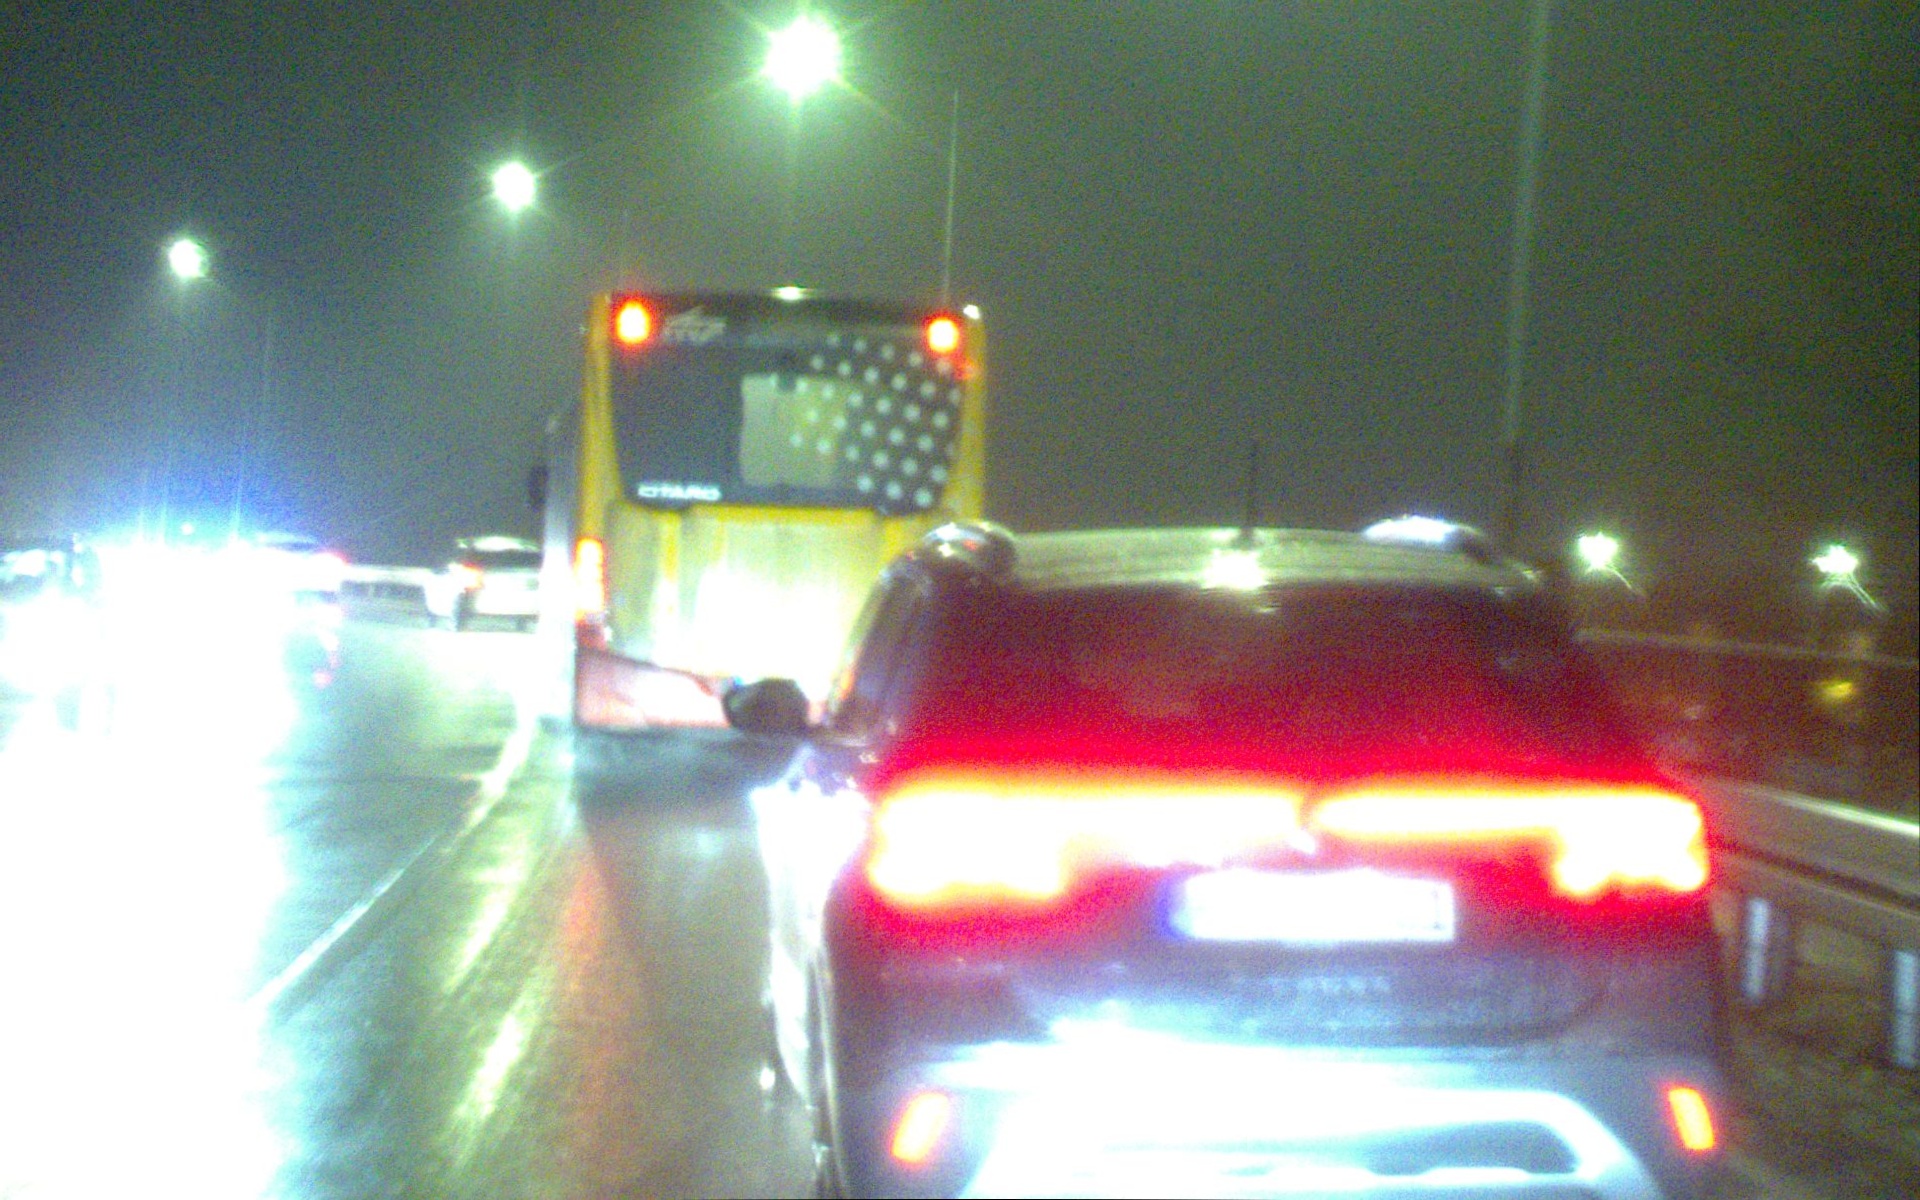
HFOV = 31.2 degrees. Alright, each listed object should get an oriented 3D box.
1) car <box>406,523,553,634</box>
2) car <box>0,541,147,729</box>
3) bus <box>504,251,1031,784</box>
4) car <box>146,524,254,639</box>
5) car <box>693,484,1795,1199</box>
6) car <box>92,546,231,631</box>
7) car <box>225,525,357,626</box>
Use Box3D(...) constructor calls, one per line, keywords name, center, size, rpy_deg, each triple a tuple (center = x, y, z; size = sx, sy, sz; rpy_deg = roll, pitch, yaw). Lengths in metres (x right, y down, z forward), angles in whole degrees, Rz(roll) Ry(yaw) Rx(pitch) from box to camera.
Box3D(name="car", center=(-7.834, -0.379, 55.847), size=(1.635, 1.650, 3.711), rpy_deg=(-1, 3, -19))
Box3D(name="car", center=(-7.895, 0.235, 28.171), size=(1.766, 1.422, 4.220), rpy_deg=(0, 1, -5))
Box3D(name="bus", center=(-1.824, -0.658, 26.861), size=(3.083, 3.122, 12.700), rpy_deg=(1, 1, -6))
Box3D(name="car", center=(-11.229, -0.299, 50.883), size=(1.470, 1.579, 3.192), rpy_deg=(1, 2, -11))
Box3D(name="car", center=(0.339, 0.588, 7.837), size=(1.855, 1.581, 4.001), rpy_deg=(1, 1, -5))
Box3D(name="car", center=(-14.497, -0.227, 62.312), size=(1.895, 1.434, 4.064), rpy_deg=(1, 1, -21))
Box3D(name="car", center=(-14.011, -0.537, 71.839), size=(1.993, 2.007, 4.001), rpy_deg=(1, 1, -21))
